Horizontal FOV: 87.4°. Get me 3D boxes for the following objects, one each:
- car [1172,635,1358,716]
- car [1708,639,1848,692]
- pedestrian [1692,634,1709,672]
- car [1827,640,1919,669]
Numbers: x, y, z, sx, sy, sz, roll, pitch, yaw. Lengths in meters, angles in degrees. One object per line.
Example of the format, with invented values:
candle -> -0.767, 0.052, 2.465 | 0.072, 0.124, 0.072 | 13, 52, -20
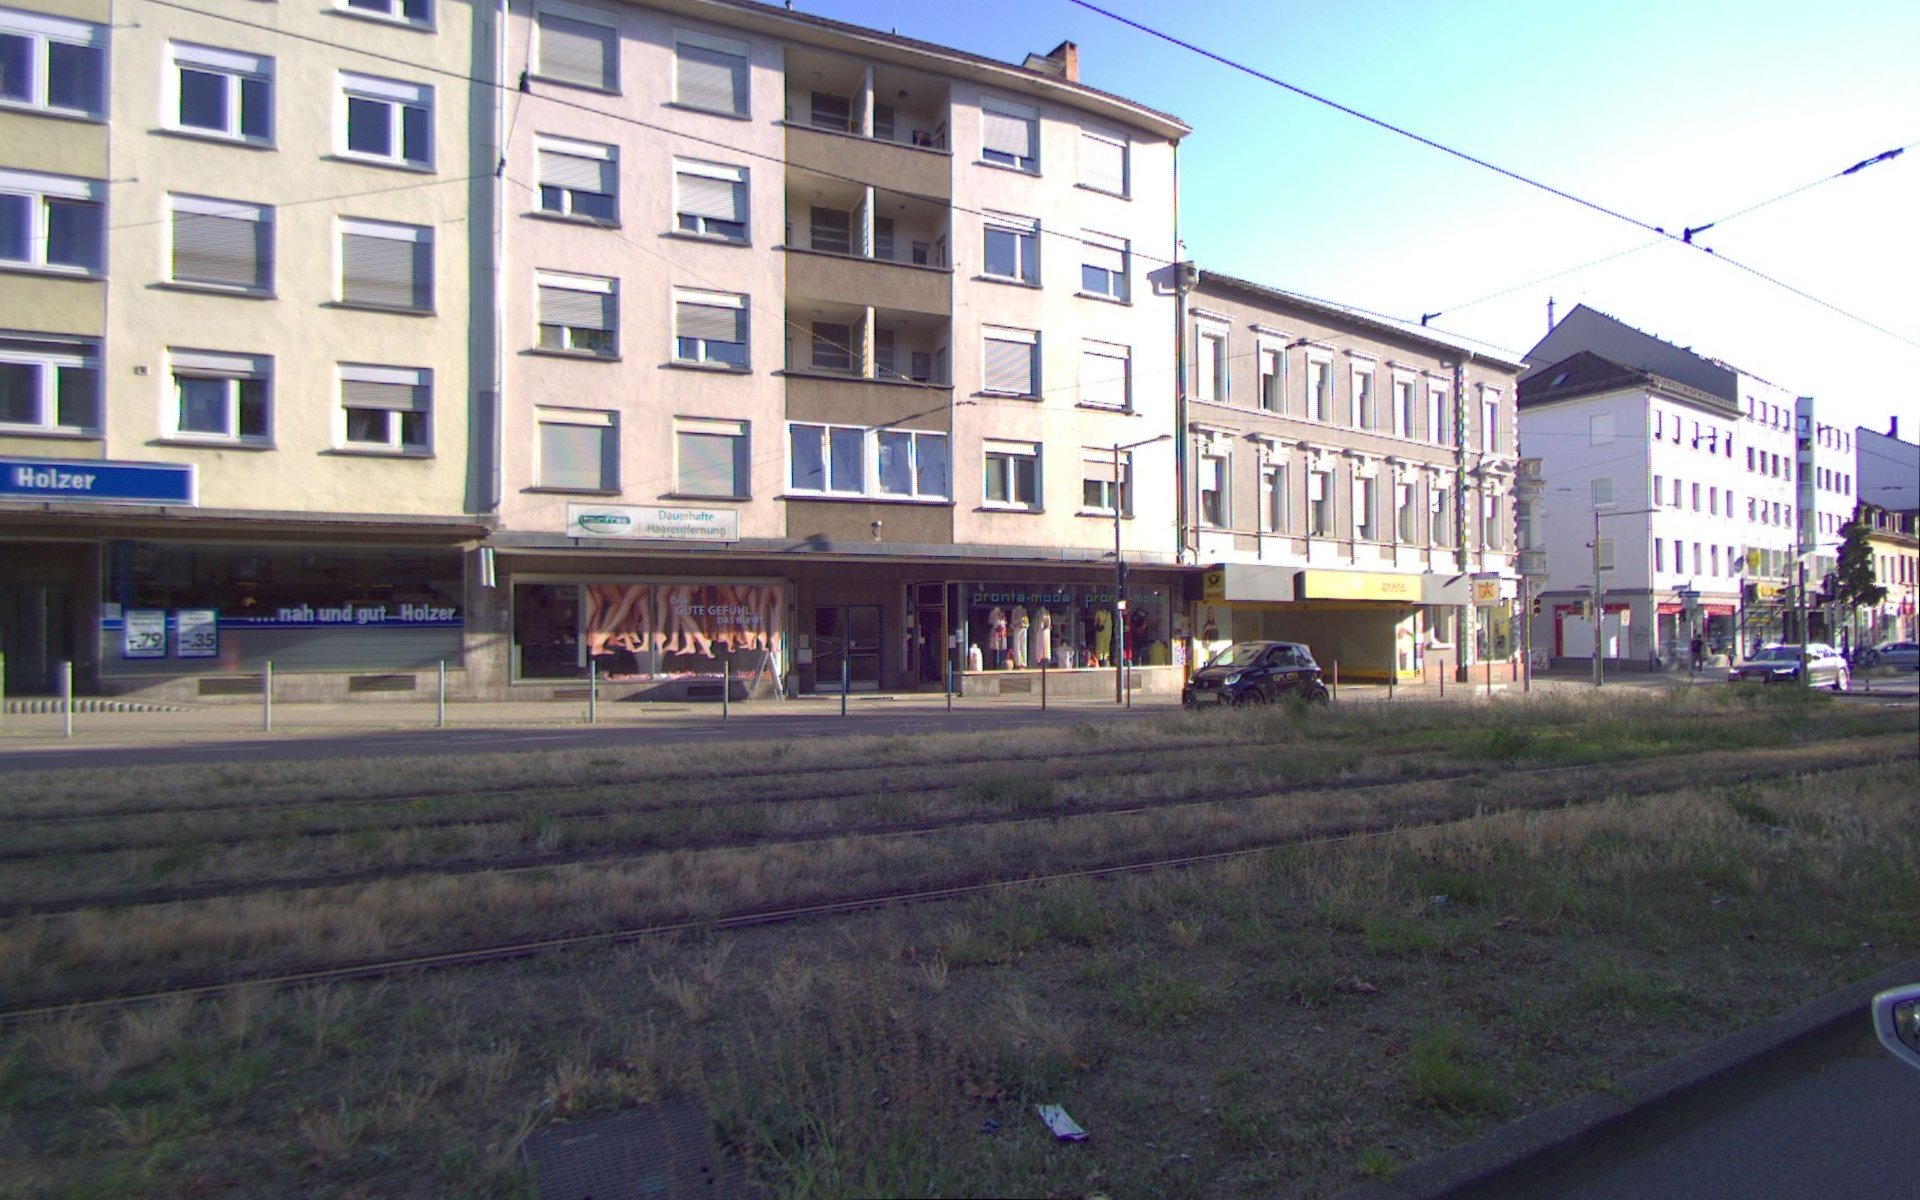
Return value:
car -> 6.235, 1.519, 20.527 | 3.434, 1.528, 1.715 | 2, -4, -29
car -> 26.263, 2.054, 32.208 | 4.719, 1.579, 1.984 | 2, -2, -31
pedestrian -> 34.174, 2.446, 46.354 | 0.501, 1.736, 0.424 | 1, -2, -26
car -> 48.618, 2.857, 52.574 | 4.465, 1.431, 1.999 | 0, -2, 24
